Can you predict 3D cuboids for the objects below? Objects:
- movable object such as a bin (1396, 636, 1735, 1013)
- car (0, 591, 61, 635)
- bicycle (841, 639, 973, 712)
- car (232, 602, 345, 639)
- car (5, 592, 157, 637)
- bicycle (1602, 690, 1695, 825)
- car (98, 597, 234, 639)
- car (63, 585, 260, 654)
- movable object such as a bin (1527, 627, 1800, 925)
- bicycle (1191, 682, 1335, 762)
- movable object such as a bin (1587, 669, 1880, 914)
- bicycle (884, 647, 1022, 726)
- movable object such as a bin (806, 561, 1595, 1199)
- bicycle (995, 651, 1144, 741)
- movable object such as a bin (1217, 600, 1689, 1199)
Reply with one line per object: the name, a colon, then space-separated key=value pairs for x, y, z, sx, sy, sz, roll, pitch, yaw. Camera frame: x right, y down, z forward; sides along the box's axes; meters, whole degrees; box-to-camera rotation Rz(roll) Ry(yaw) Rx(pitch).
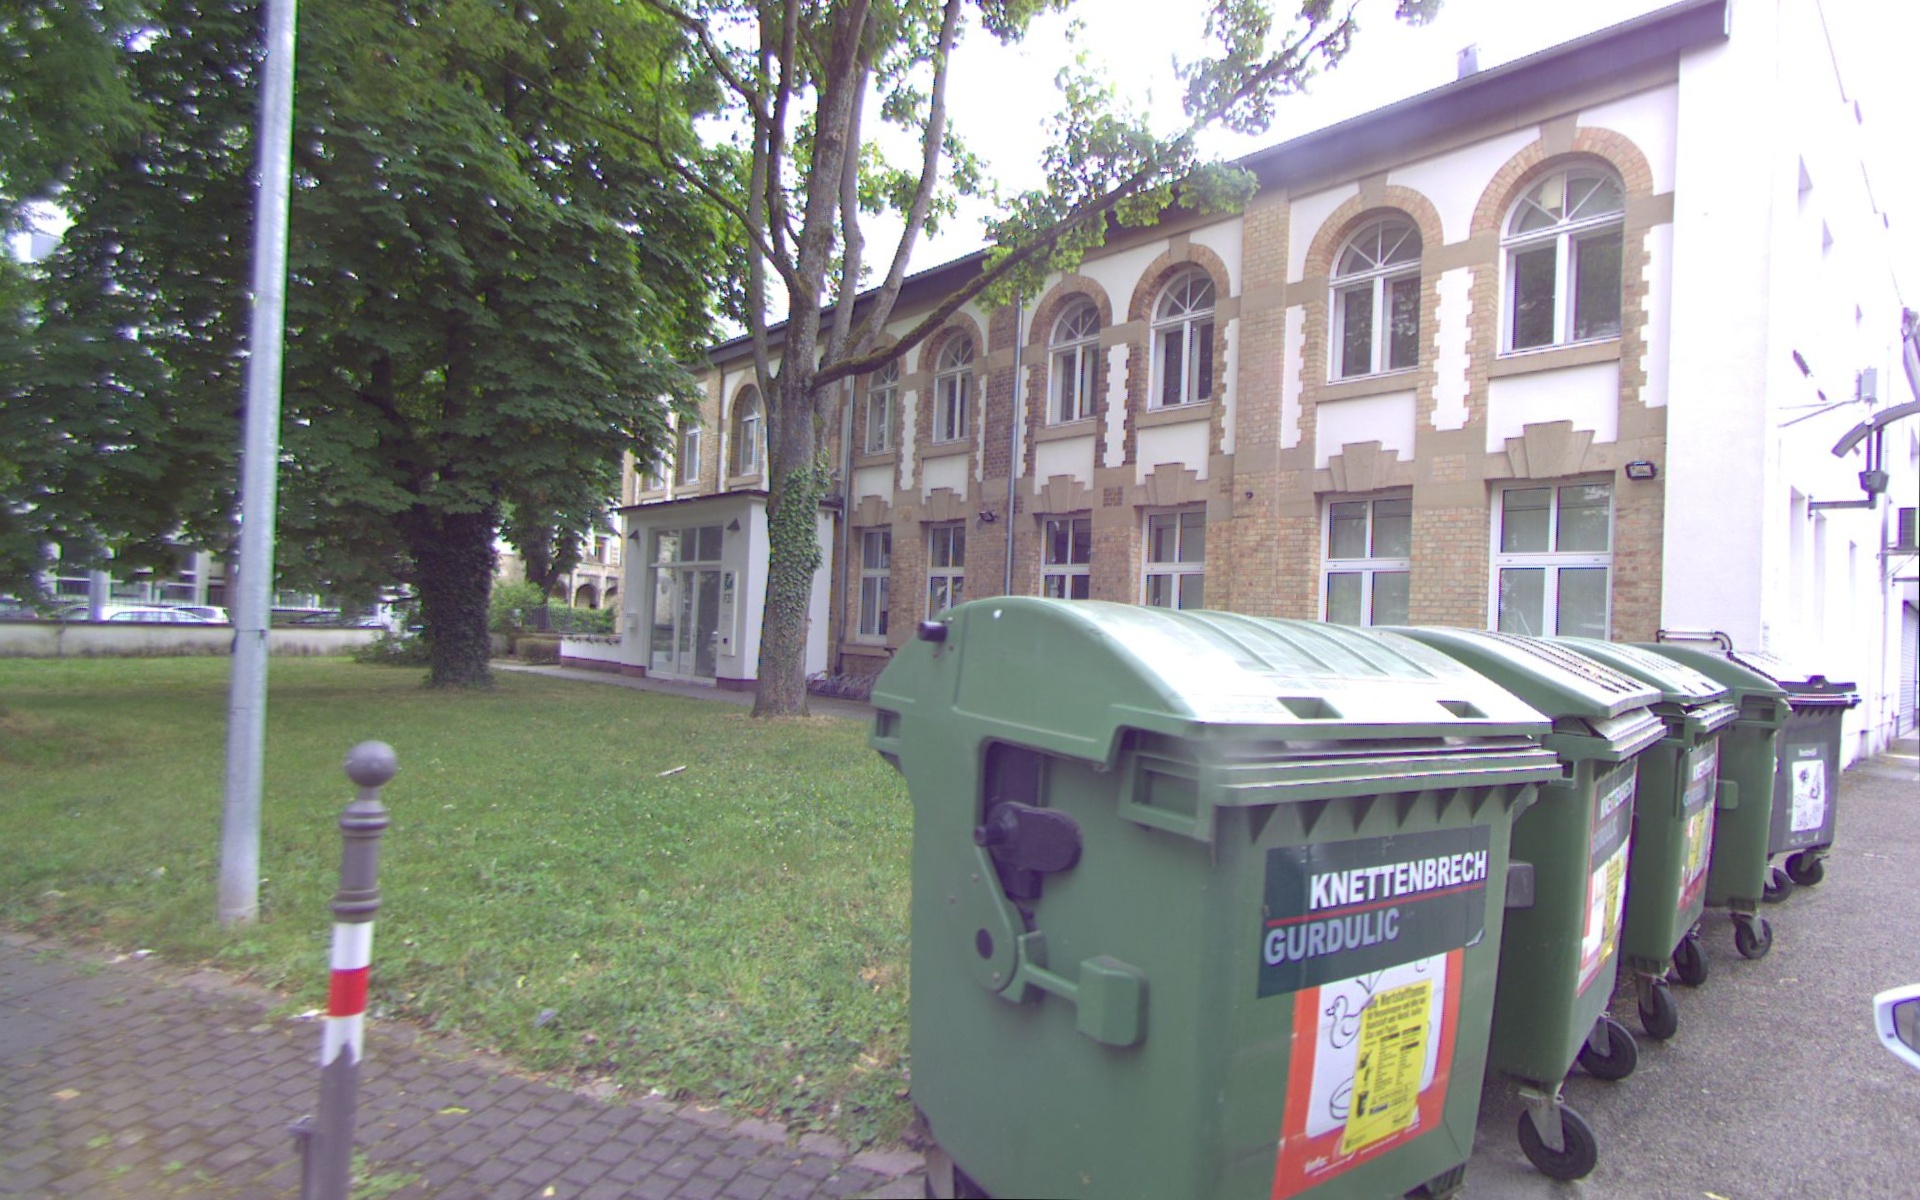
movable object such as a bin: x=2.673 y=0.832 z=4.383 sx=1.040 sy=1.281 sz=1.348 roll=1 pitch=-2 yaw=41
car: x=-33.989 y=0.358 z=34.729 sx=3.918 sy=1.369 sz=1.688 roll=5 pitch=-2 yaw=-27
bicycle: x=-0.857 y=1.261 z=16.774 sx=2.202 sy=1.134 sz=0.612 roll=4 pitch=-2 yaw=-38
car: x=-30.074 y=0.915 z=45.119 sx=3.918 sy=1.369 sz=1.688 roll=5 pitch=-2 yaw=-27
car: x=-32.934 y=0.550 z=37.778 sx=3.918 sy=1.369 sz=1.688 roll=5 pitch=-2 yaw=-27
bicycle: x=6.359 y=1.397 z=9.241 sx=0.390 sy=1.079 sz=1.818 roll=1 pitch=-2 yaw=44
car: x=-31.916 y=0.728 z=40.524 sx=3.918 sy=1.369 sz=1.688 roll=5 pitch=-2 yaw=-27
car: x=-19.846 y=0.533 z=25.141 sx=1.451 sy=1.500 sz=3.567 roll=4 pitch=-1 yaw=18
movable object such as a bin: x=3.709 y=0.819 z=5.312 sx=1.039 sy=1.281 sz=1.349 roll=1 pitch=-2 yaw=37
bicycle: x=3.587 y=1.401 z=11.798 sx=1.927 sy=0.824 sz=0.612 roll=4 pitch=-2 yaw=-38
movable object such as a bin: x=4.861 y=1.117 z=6.328 sx=1.339 sy=1.281 sz=1.047 roll=3 pitch=-2 yaw=-31
bicycle: x=-0.080 y=1.338 z=15.626 sx=2.202 sy=1.134 sz=0.612 roll=4 pitch=-2 yaw=-38
movable object such as a bin: x=0.537 y=0.724 z=2.247 sx=1.342 sy=1.469 sz=1.045 roll=5 pitch=-3 yaw=-36
bicycle: x=1.535 y=1.302 z=13.749 sx=2.202 sy=1.134 sz=0.612 roll=4 pitch=-2 yaw=-38
movable object such as a bin: x=1.653 y=0.788 z=3.277 sx=1.040 sy=1.475 sz=1.348 roll=2 pitch=-2 yaw=41
